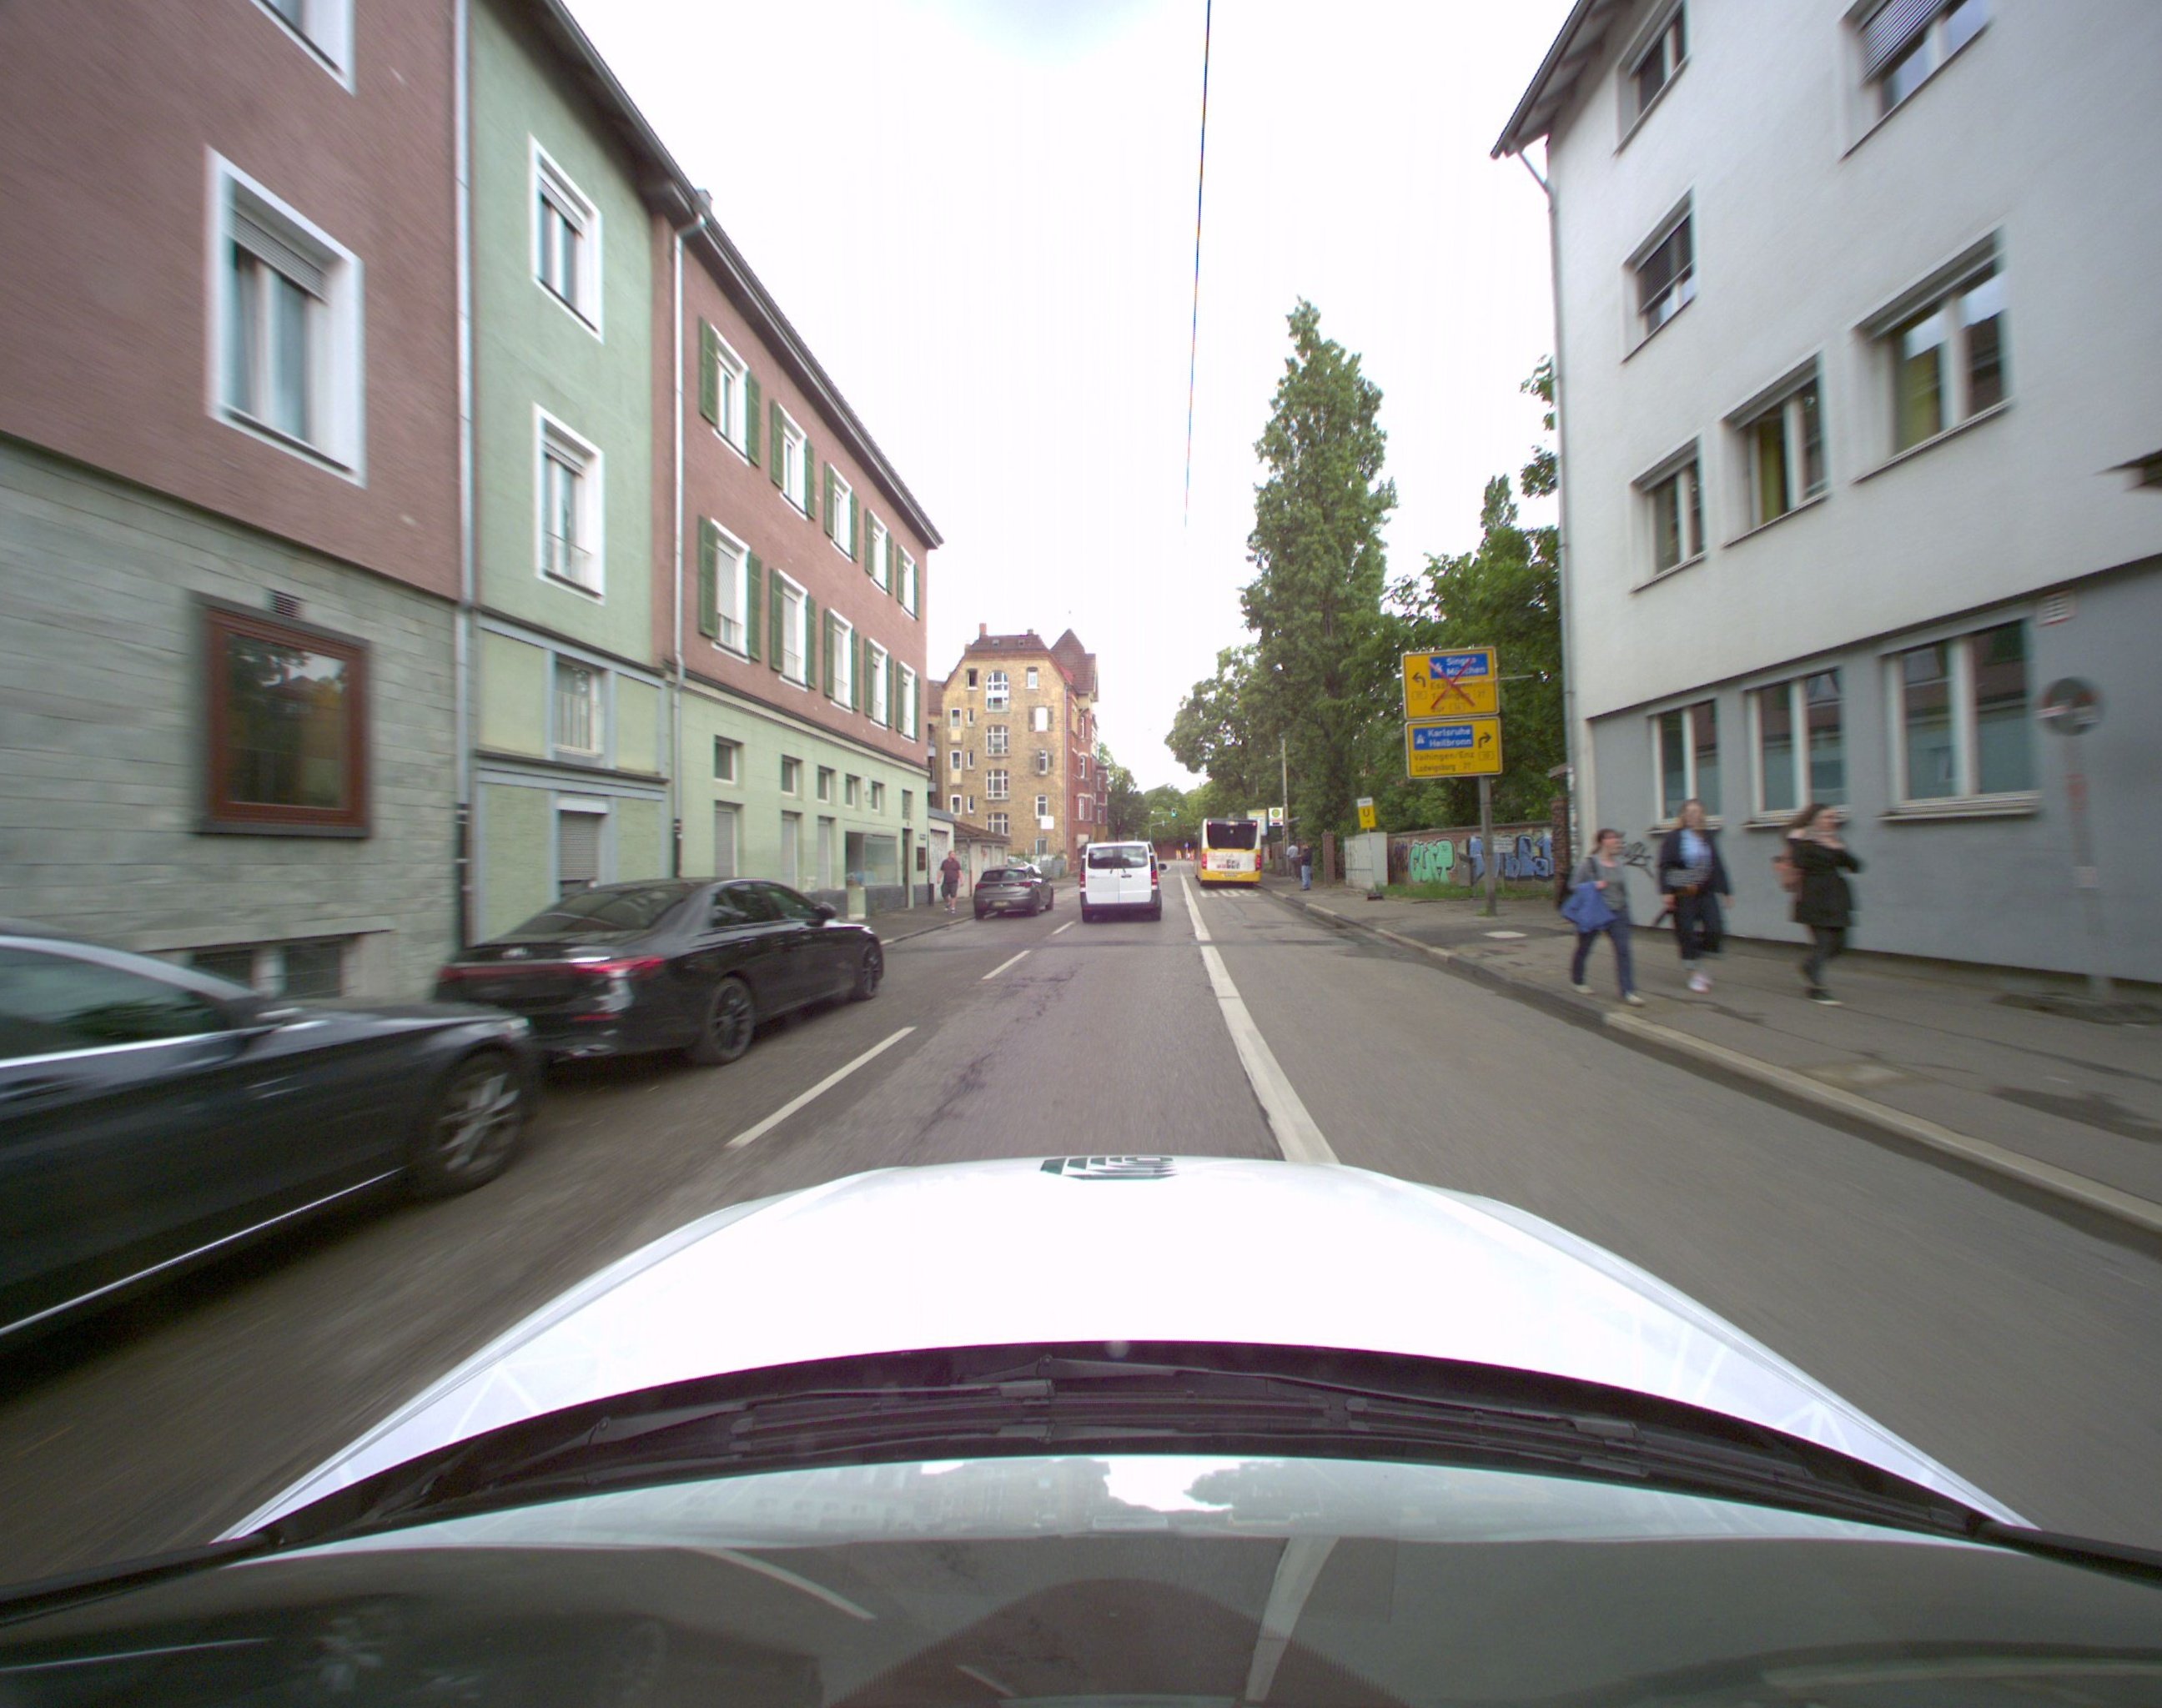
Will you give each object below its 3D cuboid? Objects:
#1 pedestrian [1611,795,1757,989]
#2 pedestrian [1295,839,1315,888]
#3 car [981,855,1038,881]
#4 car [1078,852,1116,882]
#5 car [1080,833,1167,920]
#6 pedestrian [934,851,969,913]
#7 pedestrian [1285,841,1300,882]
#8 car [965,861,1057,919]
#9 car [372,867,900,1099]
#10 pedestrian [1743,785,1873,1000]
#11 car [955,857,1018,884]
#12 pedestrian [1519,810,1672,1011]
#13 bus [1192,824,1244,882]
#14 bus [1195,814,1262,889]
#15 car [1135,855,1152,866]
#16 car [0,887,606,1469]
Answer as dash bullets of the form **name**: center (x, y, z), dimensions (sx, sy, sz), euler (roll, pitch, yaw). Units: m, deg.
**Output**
- **pedestrian**: center (5.868, 0.349, 7.976), dimensions (0.684, 1.757, 0.878), euler (-3, 0, 0)
- **pedestrian**: center (8.239, 0.340, 30.026), dimensions (0.579, 1.779, 0.822), euler (1, -1, 6)
- **car**: center (-4.982, 0.953, 56.907), dimensions (3.577, 1.612, 1.692), euler (-3, -1, 7)
- **car**: center (1.060, 0.785, 51.362), dimensions (1.943, 1.734, 4.782), euler (-1, 0, 7)
- **car**: center (1.129, 0.591, 20.665), dimensions (1.908, 1.902, 4.706), euler (1, -2, 4)
- **pedestrian**: center (-3.740, 0.814, 23.673), dimensions (0.758, 1.744, 0.985), euler (1, -2, 4)
- **pedestrian**: center (9.579, 0.341, 36.941), dimensions (0.448, 1.779, 0.673), euler (-4, -1, 6)
- **car**: center (-1.940, 0.974, 23.825), dimensions (1.868, 1.486, 4.135), euler (1, 0, 7)
- **car**: center (-3.419, 0.876, 7.656), dimensions (1.819, 1.455, 4.929), euler (-1, -1, 6)
- **pedestrian**: center (6.252, 0.318, 7.035), dimensions (0.538, 1.757, 0.611), euler (-3, 0, 13)
- **car**: center (-5.973, 1.031, 51.686), dimensions (3.577, 1.504, 1.857), euler (-3, -1, 7)
- **pedestrian**: center (4.965, 0.513, 7.924), dimensions (0.800, 1.793, 0.942), euler (-3, 0, 0)
- **bus**: center (8.148, -0.033, 49.227), dimensions (2.657, 3.138, 9.235), euler (1, 0, 7)
- **bus**: center (6.964, -0.084, 39.650), dimensions (2.648, 3.136, 10.059), euler (1, 0, 7)
- **car**: center (9.055, 0.921, 118.233), dimensions (2.031, 1.485, 4.388), euler (-1, 1, -1)
- **car**: center (-3.713, 0.888, 2.363), dimensions (1.821, 1.455, 4.587), euler (-1, -1, 2)
